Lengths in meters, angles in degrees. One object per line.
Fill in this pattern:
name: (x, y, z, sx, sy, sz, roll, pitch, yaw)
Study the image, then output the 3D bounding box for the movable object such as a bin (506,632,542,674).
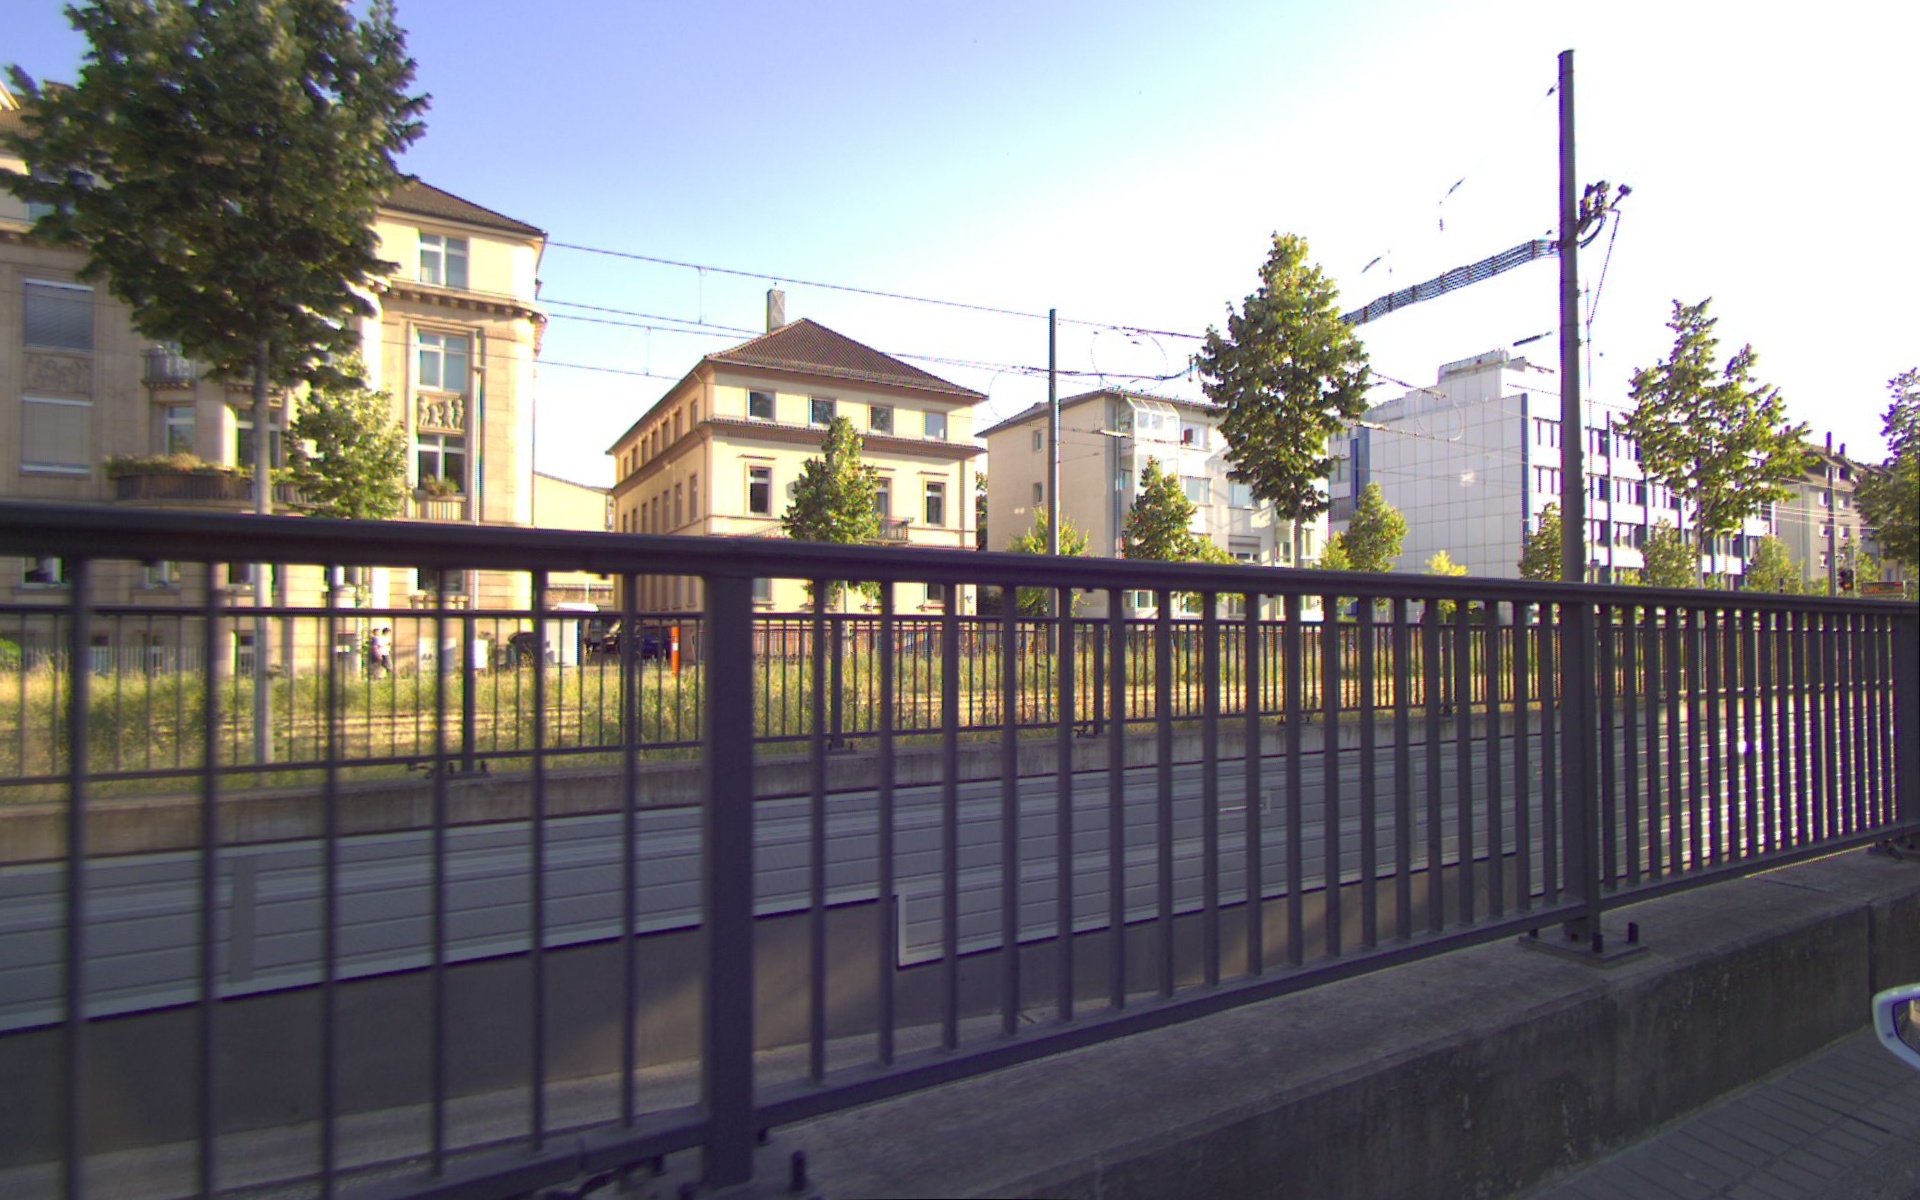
movable object such as a bin: (-15.634, 1.882, 36.013, 1.067, 1.447, 1.200, 1, -2, -30)

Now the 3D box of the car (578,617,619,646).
car: (-20.766, 1.780, 57.629, 1.661, 1.488, 3.971, 2, -1, -28)

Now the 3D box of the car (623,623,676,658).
car: (-14.468, 1.867, 46.694, 1.661, 1.488, 3.971, 2, -1, -28)

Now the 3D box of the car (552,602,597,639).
car: (-25.252, 1.312, 65.730, 2.220, 2.299, 4.547, 2, -1, -28)

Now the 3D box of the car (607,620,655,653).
car: (-16.831, 1.842, 51.293, 1.661, 1.488, 3.971, 2, -1, -28)

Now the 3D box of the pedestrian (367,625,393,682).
pedestrian: (-17.771, 1.627, 30.793, 0.645, 1.743, 0.553, 1, -2, -30)
